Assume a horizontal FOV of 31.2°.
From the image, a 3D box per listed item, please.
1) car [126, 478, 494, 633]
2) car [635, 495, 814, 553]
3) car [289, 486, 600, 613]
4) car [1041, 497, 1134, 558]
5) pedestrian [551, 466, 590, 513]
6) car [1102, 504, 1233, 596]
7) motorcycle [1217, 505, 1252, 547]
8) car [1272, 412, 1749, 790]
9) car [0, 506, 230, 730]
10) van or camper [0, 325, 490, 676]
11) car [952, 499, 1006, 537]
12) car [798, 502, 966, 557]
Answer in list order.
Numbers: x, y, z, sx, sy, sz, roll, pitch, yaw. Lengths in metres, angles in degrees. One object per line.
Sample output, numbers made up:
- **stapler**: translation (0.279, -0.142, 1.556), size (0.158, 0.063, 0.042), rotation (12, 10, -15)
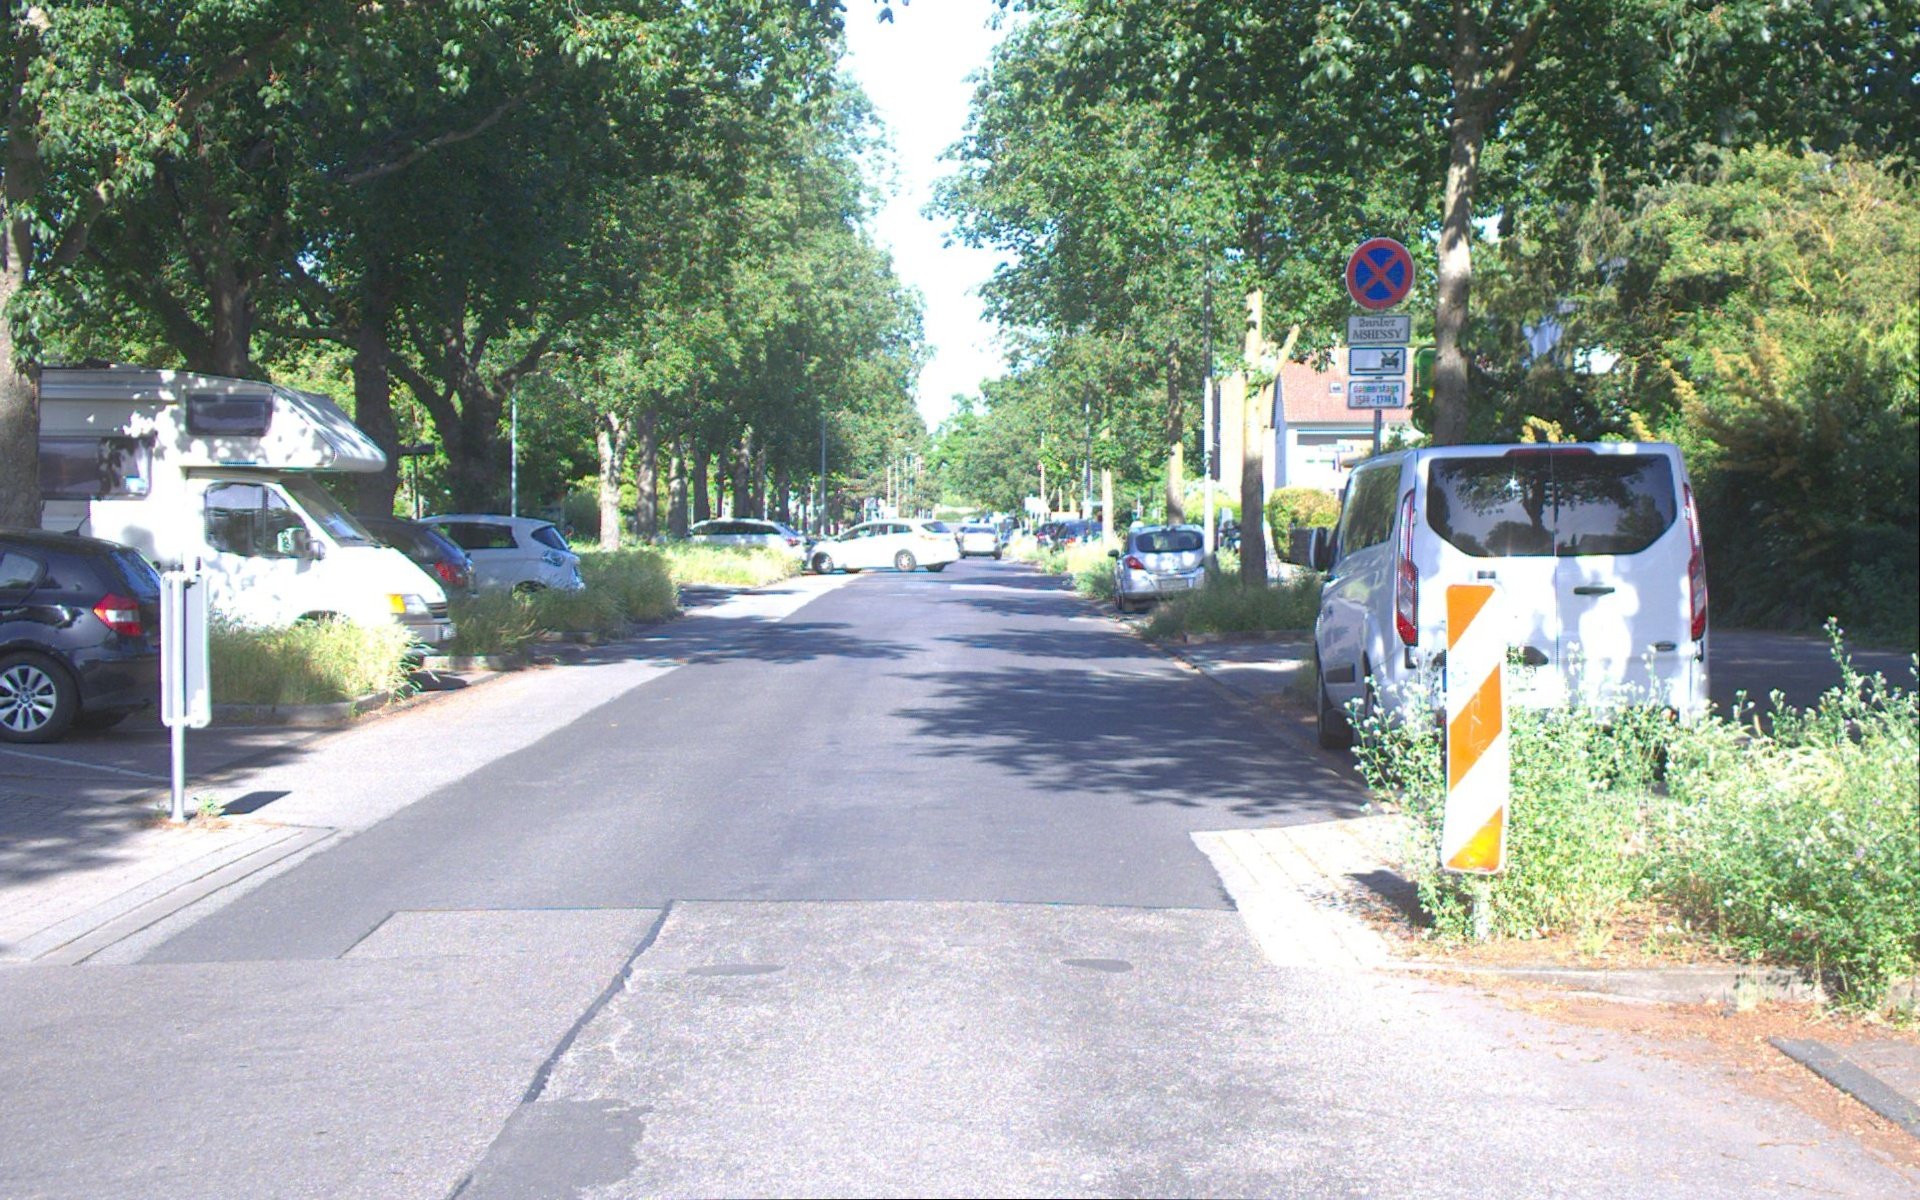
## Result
- **car**: translation (-7.773, -0.537, 41.384), size (3.987, 1.583, 2.000), rotation (3, 1, -1)
- **car**: translation (-6.380, -2.085, 93.647), size (4.671, 1.498, 2.000), rotation (1, 1, 2)
- **car**: translation (-7.061, -0.711, 47.398), size (3.987, 1.655, 1.967), rotation (1, 2, -1)
- **car**: translation (3.651, -2.097, 99.289), size (1.993, 1.616, 4.383), rotation (3, 1, -6)
- **pedestrian**: translation (-15.578, -4.416, 137.447), size (1.224, 1.821, 1.551), rotation (2, 0, -16)
- **car**: translation (3.617, -0.854, 59.272), size (1.994, 1.505, 3.999), rotation (0, 1, 7)
- **motorcycle**: translation (8.119, -2.200, 101.802), size (0.818, 1.223, 2.352), rotation (-1, 2, 0)
- **car**: translation (3.325, -0.045, 21.899), size (1.993, 2.007, 5.197), rotation (3, 1, -1)
- **car**: translation (-7.281, 0.043, 23.855), size (3.987, 1.445, 1.639), rotation (3, 1, 4)
- **van or camper**: translation (-7.310, -0.933, 30.655), size (5.776, 2.795, 2.000), rotation (3, 1, 2)
- **car**: translation (0.811, -3.473, 145.950), size (1.993, 1.503, 3.659), rotation (3, 1, -3)
- **car**: translation (-2.158, -1.957, 95.027), size (4.217, 1.450, 1.997), rotation (1, 2, 28)
